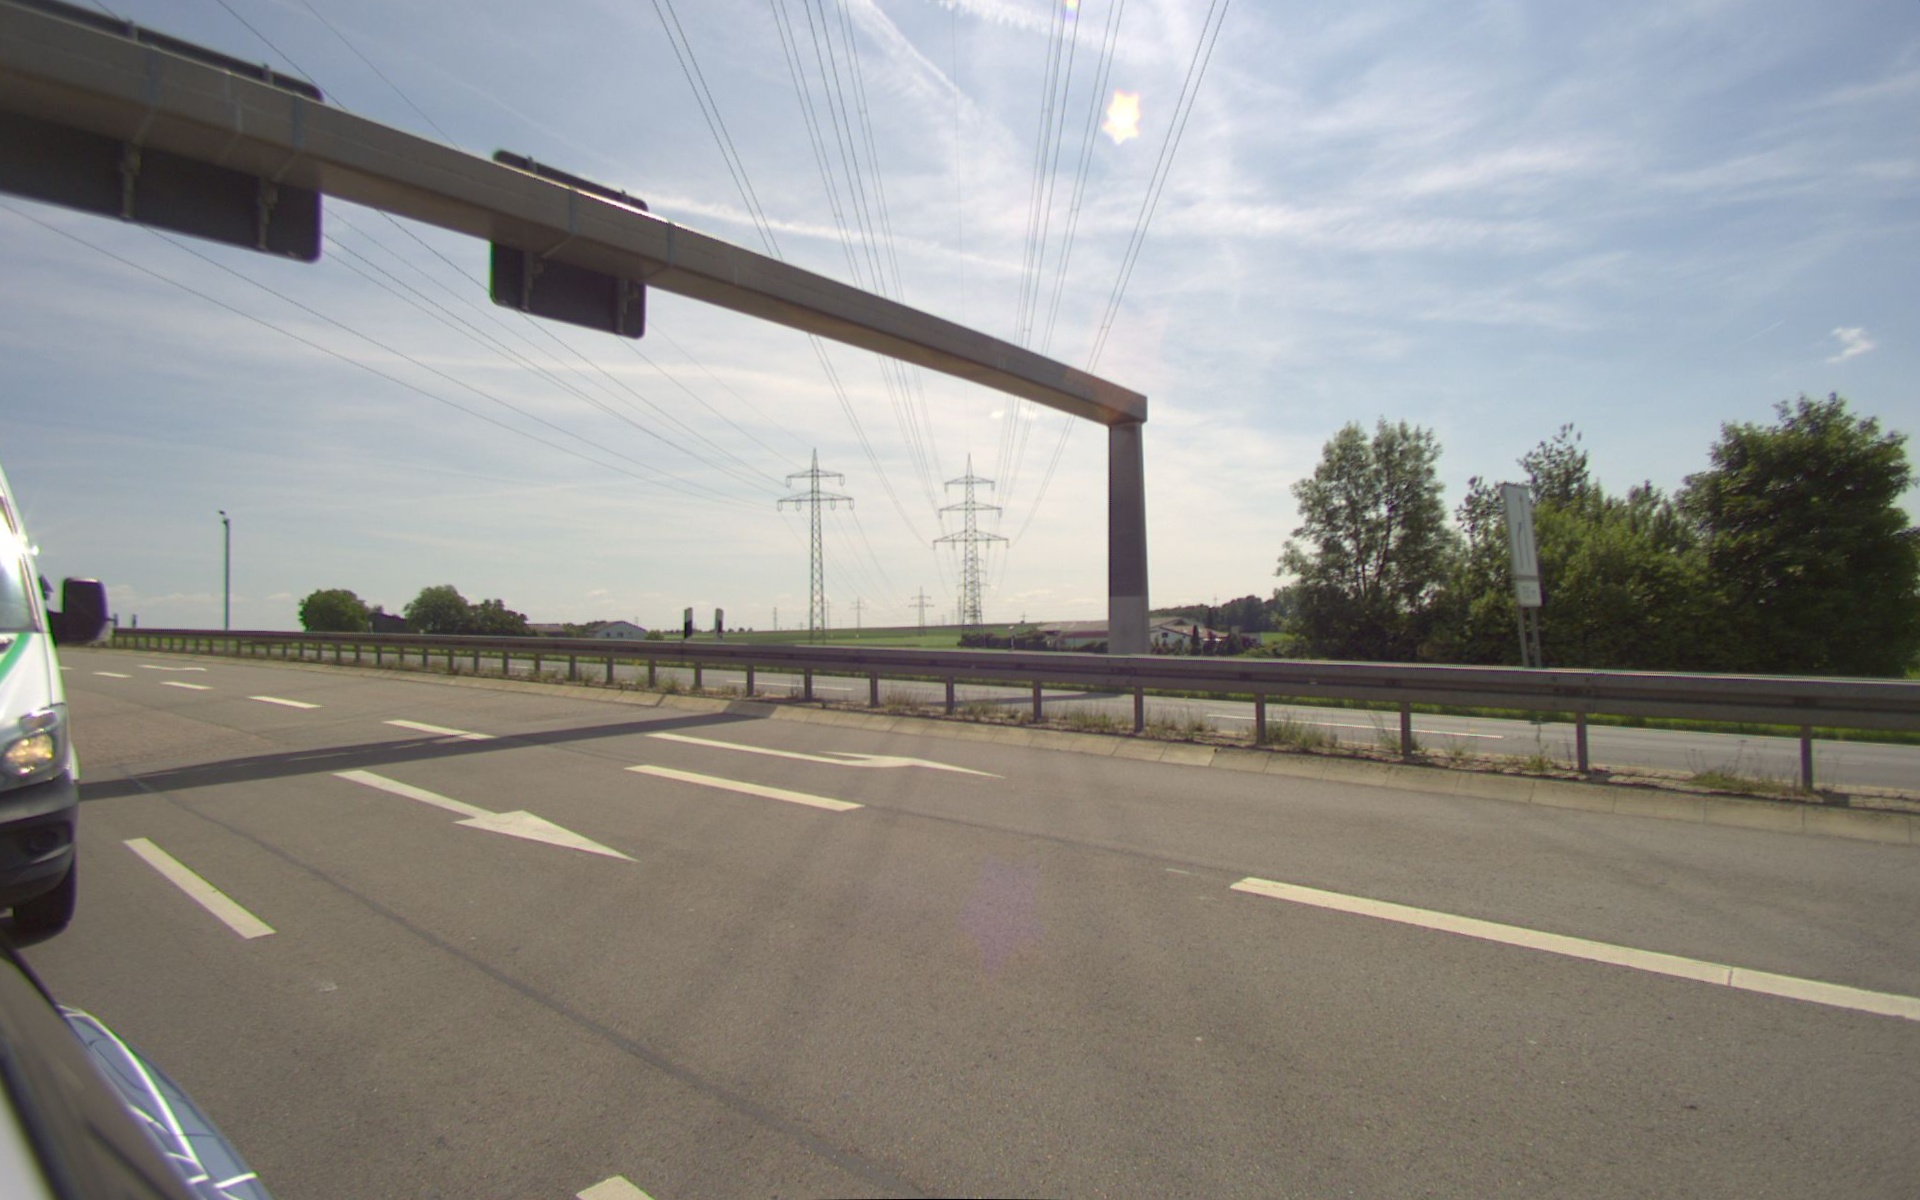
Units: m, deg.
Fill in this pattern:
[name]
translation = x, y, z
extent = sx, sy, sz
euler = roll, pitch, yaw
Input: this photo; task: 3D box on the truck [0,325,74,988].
[truck]
translation = -6.086, 0.247, 5.057
extent = 5.105, 2.552, 1.972
euler = -1, -1, 43
